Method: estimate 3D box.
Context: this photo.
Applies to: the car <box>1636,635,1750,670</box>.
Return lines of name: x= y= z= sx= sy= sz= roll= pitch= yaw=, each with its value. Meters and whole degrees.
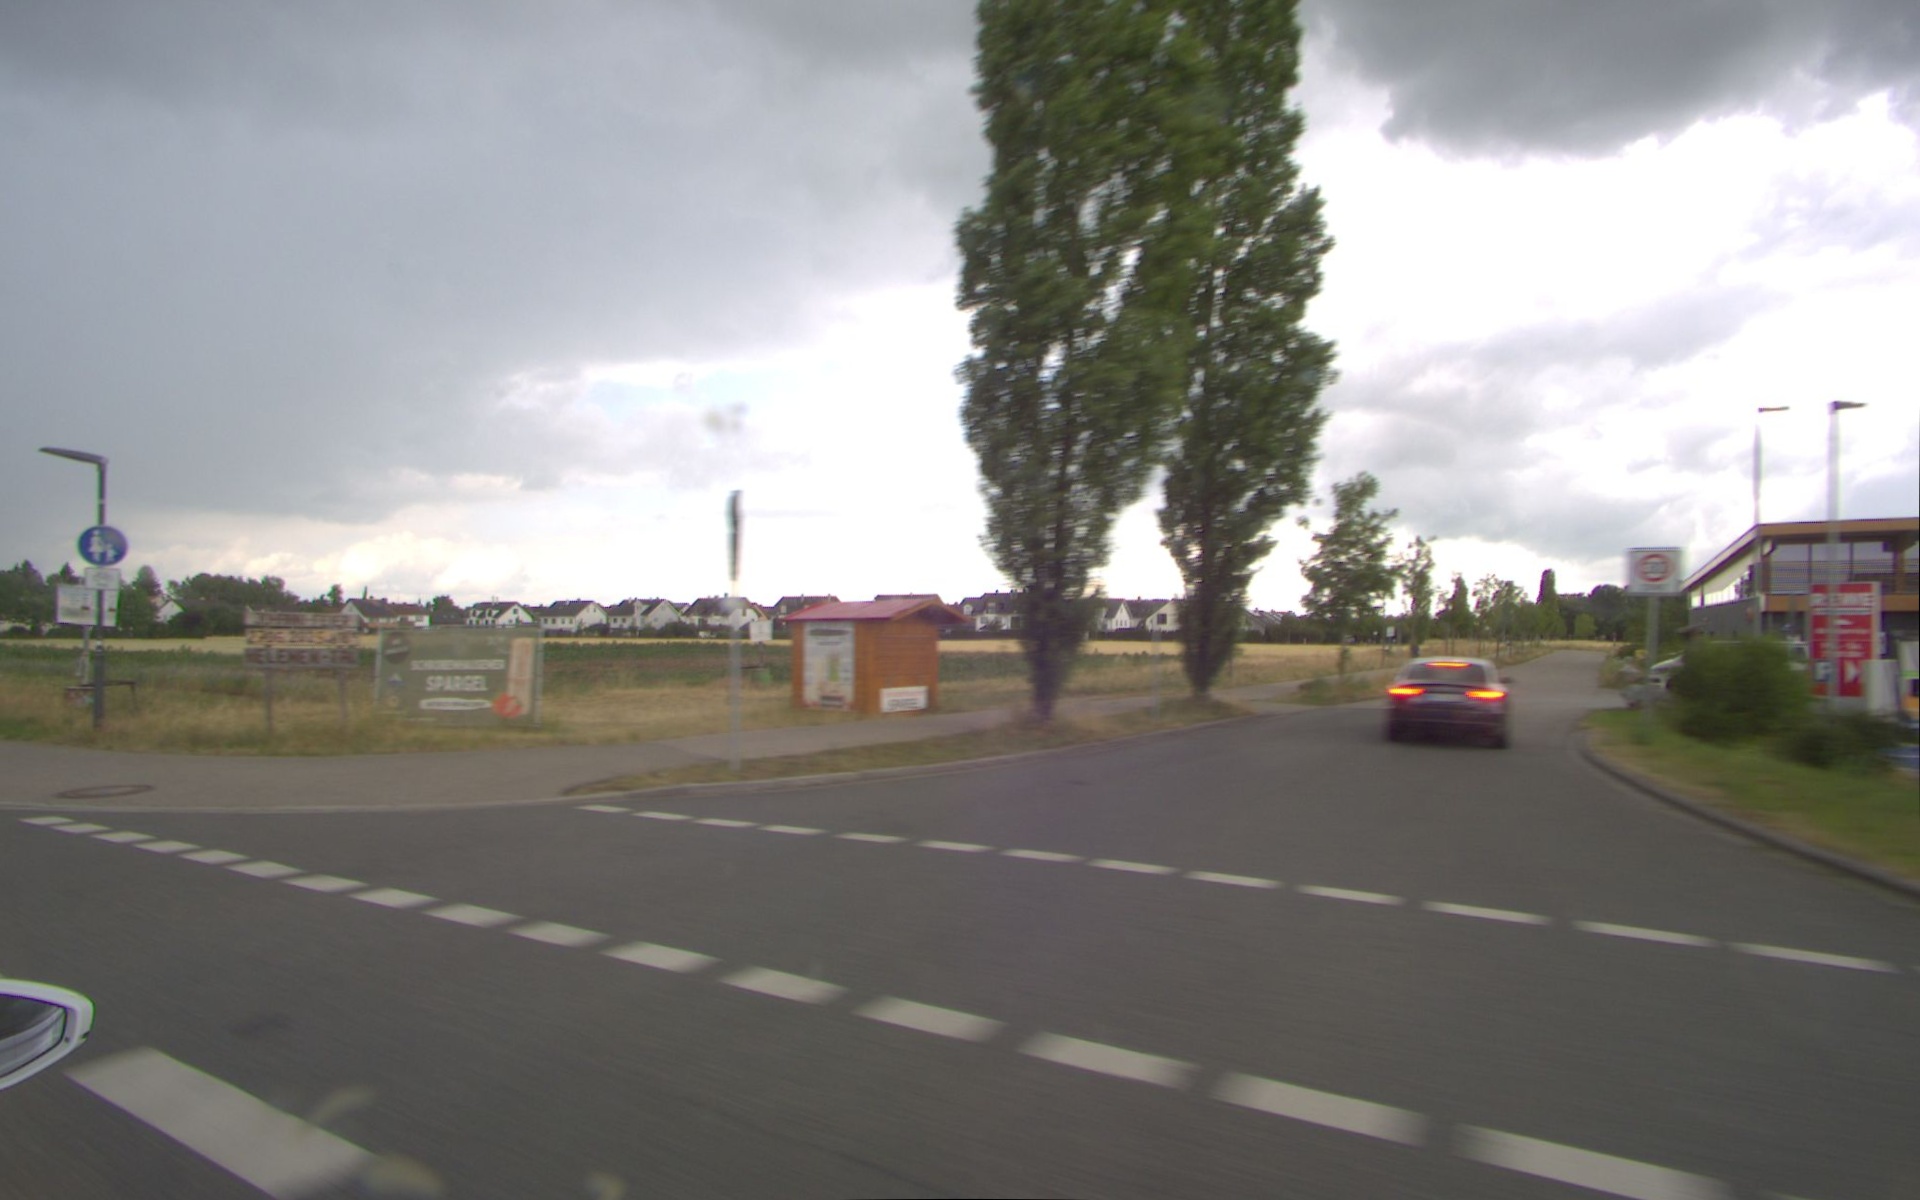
car: x=33.957 y=2.413 z=46.541 sx=4.140 sy=1.429 sz=1.989 roll=0 pitch=0 yaw=33

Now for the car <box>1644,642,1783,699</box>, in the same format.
car: x=29.764 y=2.734 z=39.741 sx=4.226 sy=2.040 sz=1.989 roll=0 pitch=0 yaw=33

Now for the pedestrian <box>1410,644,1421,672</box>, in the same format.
pedestrian: x=30.127 y=3.818 z=66.194 sx=0.591 sy=1.785 sz=0.481 roll=0 pitch=1 yaw=31

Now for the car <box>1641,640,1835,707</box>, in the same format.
car: x=26.834 y=2.479 z=34.822 sx=5.159 sy=2.040 sz=1.989 roll=0 pitch=0 yaw=33

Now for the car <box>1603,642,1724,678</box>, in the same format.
car: x=30.304 y=2.555 z=43.298 sx=4.196 sy=1.367 sz=1.828 roll=0 pitch=0 yaw=33

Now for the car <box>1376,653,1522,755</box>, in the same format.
car: x=8.414 y=1.650 z=17.028 sx=1.805 sy=1.406 sz=4.366 roll=0 pitch=-2 yaw=32
